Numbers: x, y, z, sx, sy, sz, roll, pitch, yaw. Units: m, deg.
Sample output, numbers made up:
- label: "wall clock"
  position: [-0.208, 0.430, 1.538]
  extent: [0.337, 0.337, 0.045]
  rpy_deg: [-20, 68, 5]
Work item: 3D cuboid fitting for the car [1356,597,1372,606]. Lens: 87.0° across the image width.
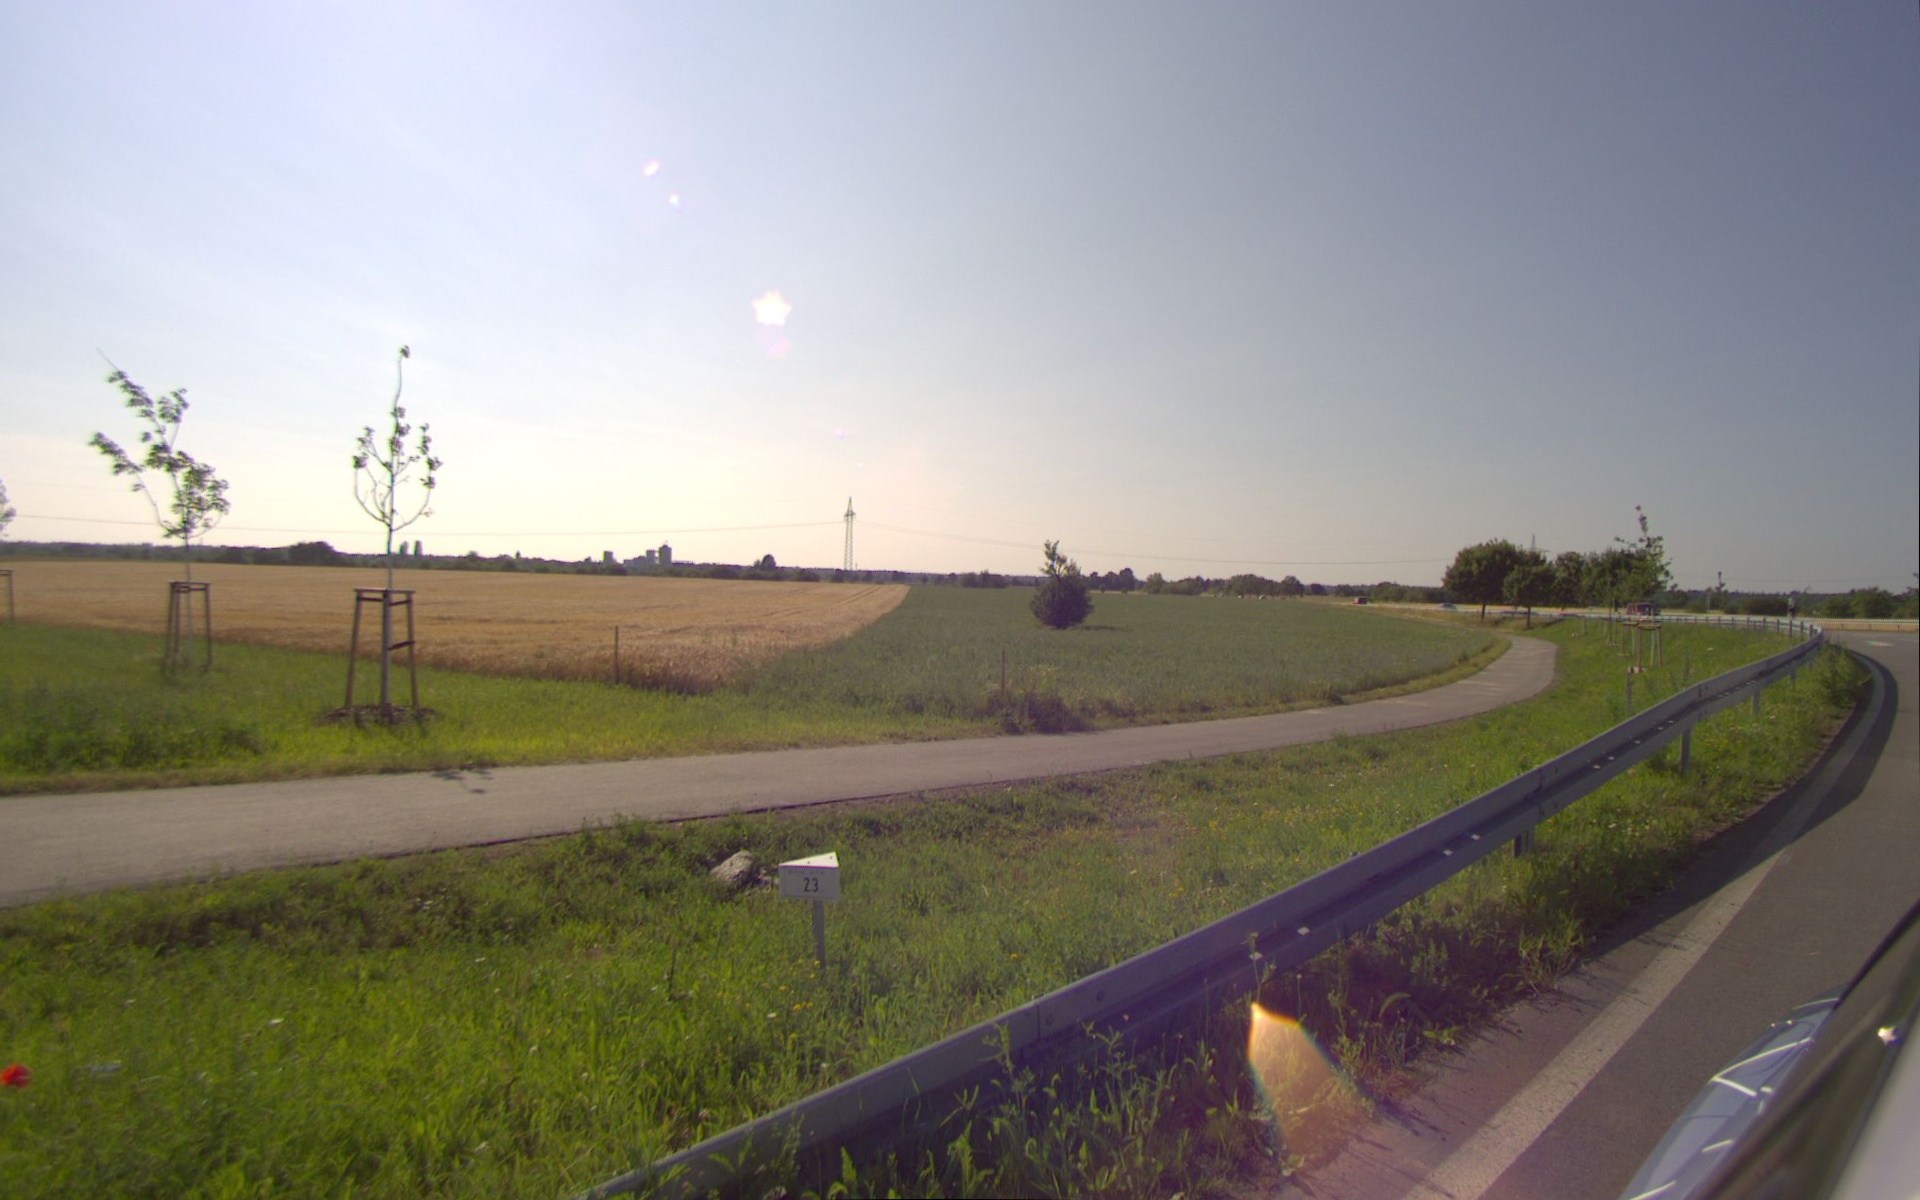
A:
- label: "car"
  position: [82.653, 0.320, 206.957]
  extent: [1.782, 1.694, 3.997]
  rpy_deg: [0, 0, 3]
